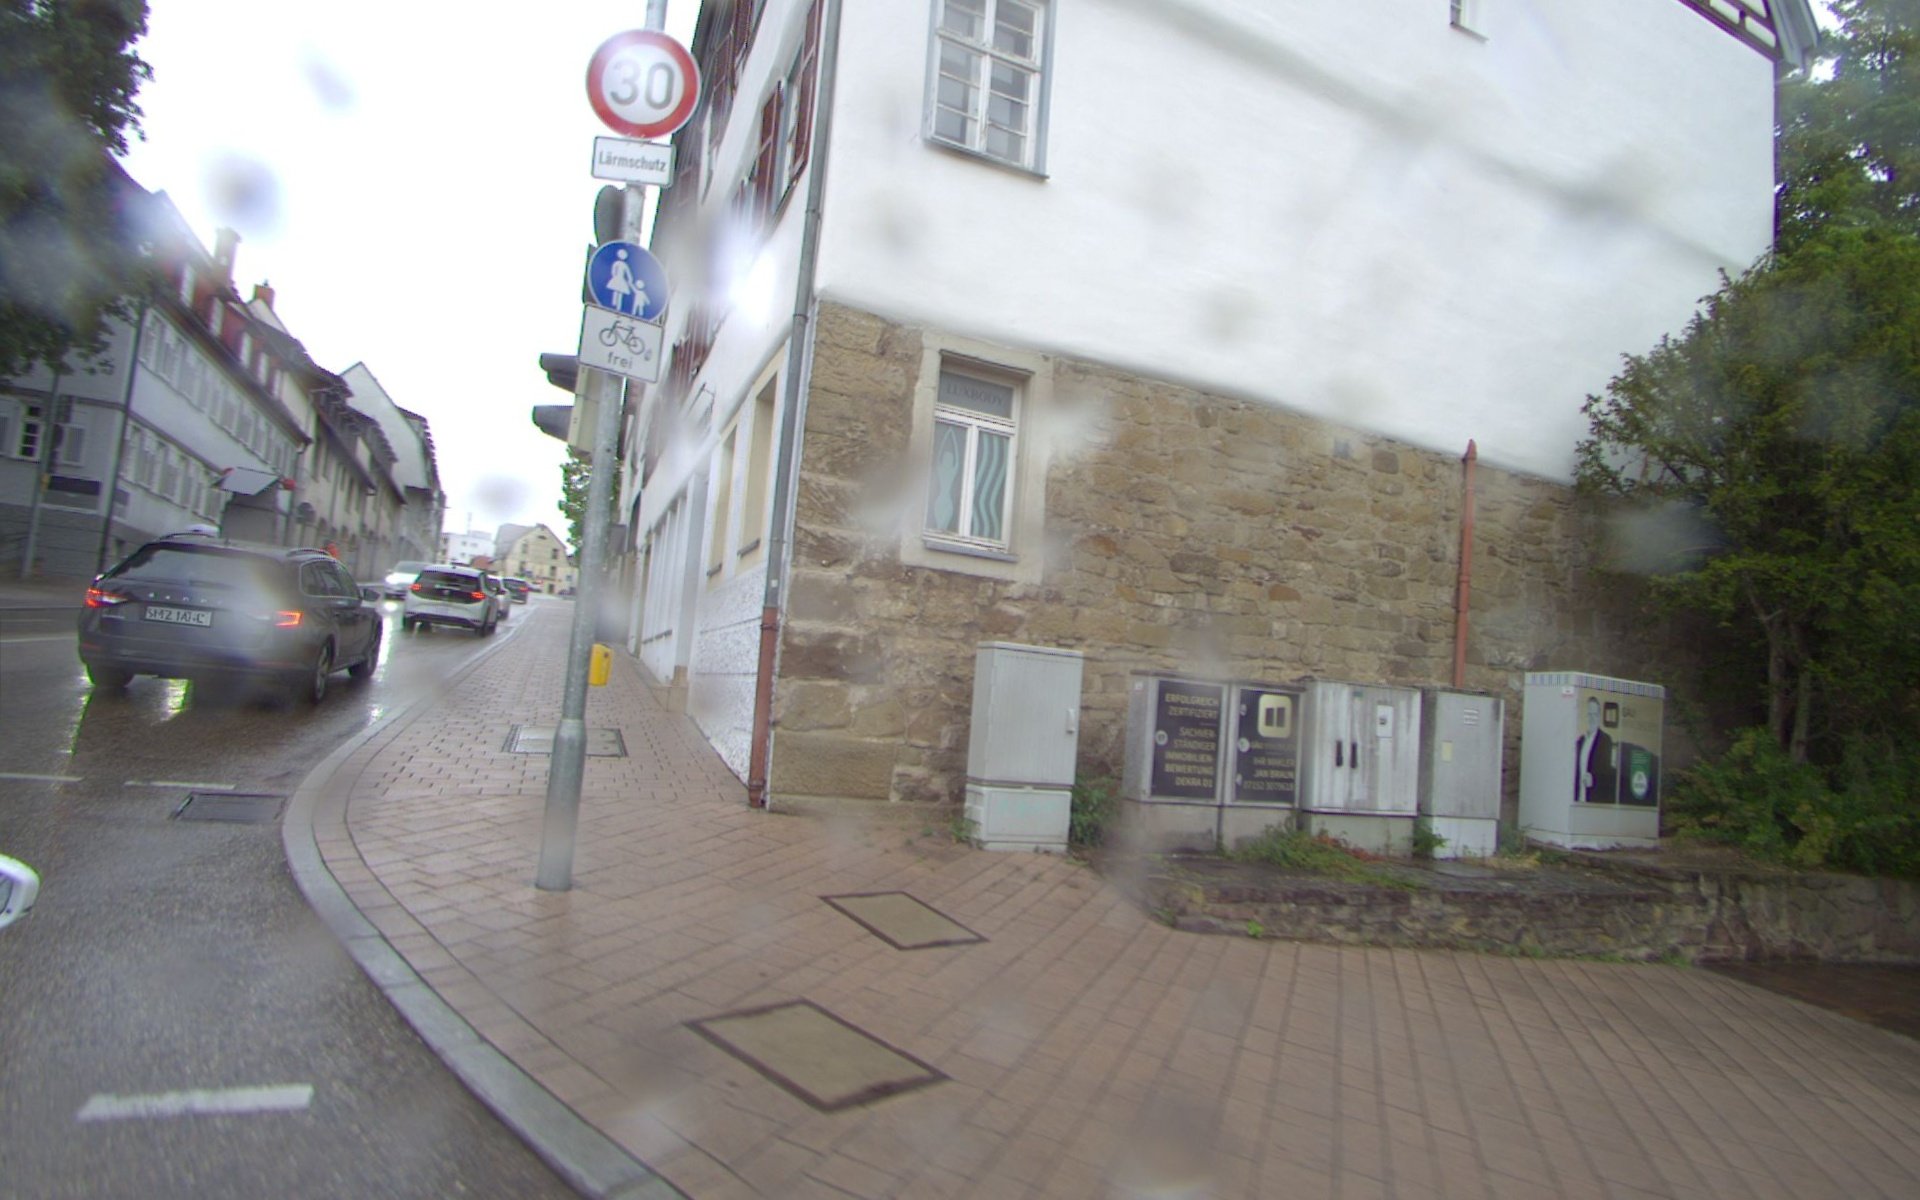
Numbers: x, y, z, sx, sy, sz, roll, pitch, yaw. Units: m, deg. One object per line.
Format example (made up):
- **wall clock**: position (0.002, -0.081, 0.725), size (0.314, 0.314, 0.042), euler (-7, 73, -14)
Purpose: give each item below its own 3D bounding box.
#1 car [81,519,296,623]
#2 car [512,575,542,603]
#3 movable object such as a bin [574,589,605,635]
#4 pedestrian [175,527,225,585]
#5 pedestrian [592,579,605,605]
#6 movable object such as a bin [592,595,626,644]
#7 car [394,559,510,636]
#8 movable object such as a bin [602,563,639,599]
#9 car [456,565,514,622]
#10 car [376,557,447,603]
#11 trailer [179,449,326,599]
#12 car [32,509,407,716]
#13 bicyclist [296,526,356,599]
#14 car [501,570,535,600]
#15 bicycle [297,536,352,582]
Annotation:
- **car**: position (-13.673, -0.416, 18.129), size (1.643, 1.443, 3.861), euler (8, -4, -16)
- **car**: position (-36.381, -0.950, 84.551), size (1.973, 2.037, 3.981), euler (7, -2, -22)
- **movable object such as a bin**: position (-9.961, 0.331, 27.093), size (0.560, 1.120, 0.676), euler (7, -4, -12)
- **pedestrian**: position (-22.179, -1.262, 29.384), size (0.700, 1.547, 1.041), euler (9, -1, -19)
- **pedestrian**: position (-26.291, -0.579, 73.160), size (0.697, 1.745, 0.829), euler (8, -1, -19)
- **movable object such as a bin**: position (-9.332, 0.526, 26.744), size (0.616, 1.219, 0.604), euler (8, -3, -12)
- **car**: position (-12.205, -0.095, 24.402), size (1.836, 1.490, 3.983), euler (8, -1, -19)
- **movable object such as a bin**: position (-14.892, -0.810, 44.126), size (1.274, 1.364, 1.480), euler (9, -3, -23)
- **car**: position (-16.663, -0.171, 35.360), size (1.612, 1.545, 3.985), euler (7, -6, -24)
- **car**: position (-22.973, -0.799, 42.299), size (1.851, 1.683, 4.292), euler (4, -1, -19)
- **trailer**: position (-20.150, -2.010, 28.921), size (1.973, 3.571, 4.559), euler (8, -4, -21)
- **car**: position (-7.213, 0.086, 10.399), size (1.868, 1.464, 4.337), euler (9, -2, -21)
- **bicyclist**: position (-19.317, -1.120, 30.664), size (1.122, 2.037, 0.877), euler (7, -1, -15)
- **car**: position (-27.277, -0.928, 62.057), size (1.688, 1.570, 3.586), euler (8, -2, -25)
- **bicycle**: position (-19.300, -1.220, 30.592), size (0.738, 1.176, 2.152), euler (6, -2, -16)
